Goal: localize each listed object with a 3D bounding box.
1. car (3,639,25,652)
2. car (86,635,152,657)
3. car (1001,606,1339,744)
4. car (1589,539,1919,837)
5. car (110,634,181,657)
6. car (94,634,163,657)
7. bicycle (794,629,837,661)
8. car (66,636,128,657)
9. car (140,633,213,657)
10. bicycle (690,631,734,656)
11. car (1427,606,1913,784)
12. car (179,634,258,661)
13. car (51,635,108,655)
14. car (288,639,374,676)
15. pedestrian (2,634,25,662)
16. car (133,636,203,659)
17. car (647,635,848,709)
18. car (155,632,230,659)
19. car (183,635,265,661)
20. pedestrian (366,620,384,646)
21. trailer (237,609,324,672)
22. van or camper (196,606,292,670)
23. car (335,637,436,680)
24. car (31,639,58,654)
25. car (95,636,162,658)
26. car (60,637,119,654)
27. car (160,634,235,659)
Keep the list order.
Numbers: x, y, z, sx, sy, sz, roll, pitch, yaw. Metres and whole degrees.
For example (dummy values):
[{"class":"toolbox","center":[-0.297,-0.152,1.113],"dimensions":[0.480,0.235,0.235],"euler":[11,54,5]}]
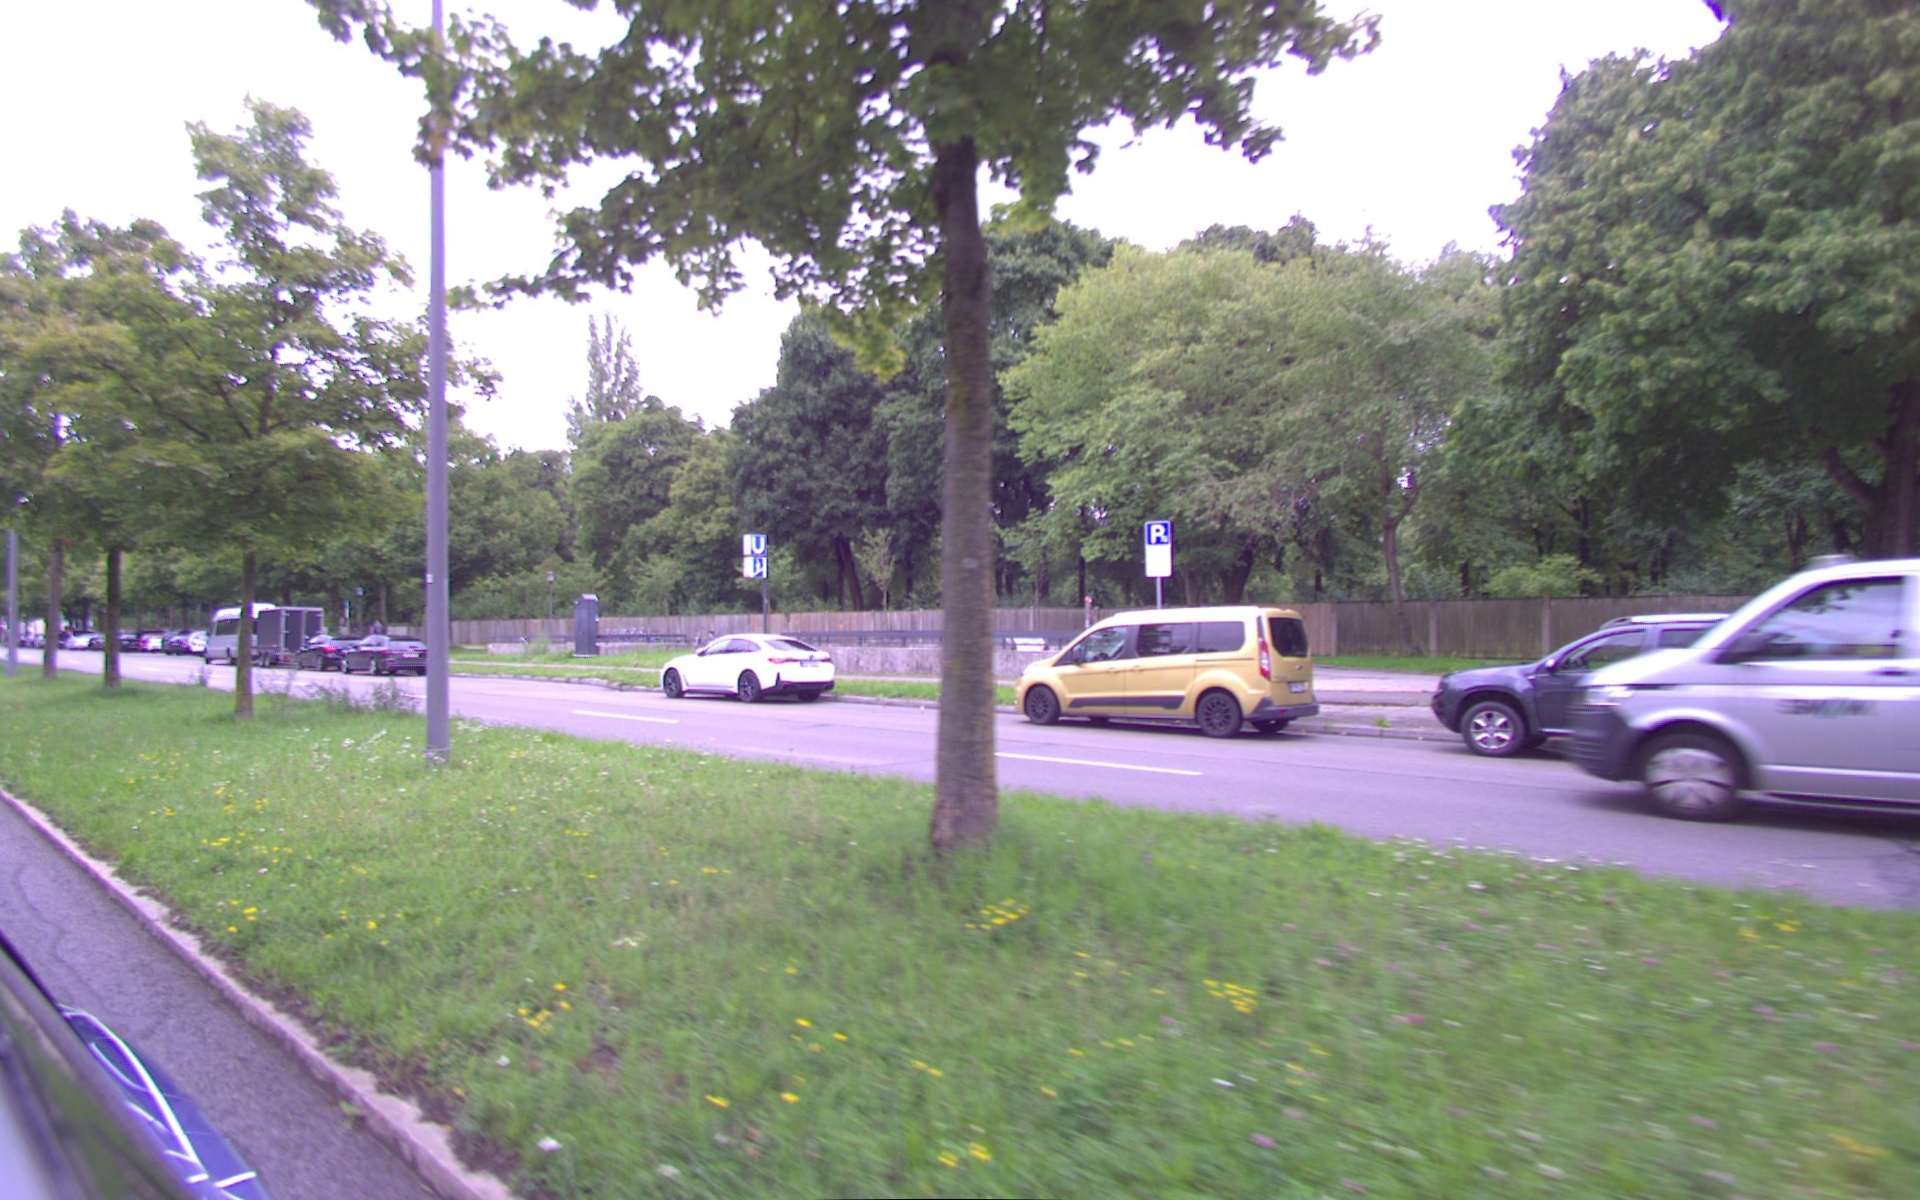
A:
[{"class":"car","center":[-112.840,5.423,120.719],"dimensions":[1.864,1.454,4.171],"euler":[-1,-1,-45]},{"class":"car","center":[-70.219,3.845,84.528],"dimensions":[1.870,1.569,3.989],"euler":[-3,0,9]},{"class":"car","center":[3.035,1.071,15.432],"dimensions":[4.816,1.796,1.795],"euler":[-2,-4,42]},{"class":"car","center":[7.347,0.592,6.893],"dimensions":[4.991,1.948,1.781],"euler":[-2,-3,41]},{"class":"car","center":[-63.214,3.528,78.656],"dimensions":[1.873,1.569,3.983],"euler":[-3,0,13]},{"class":"car","center":[-65.552,3.584,79.870],"dimensions":[1.870,1.569,3.989],"euler":[-3,0,9]},{"class":"bicycle","center":[-5.119,1.575,35.726],"dimensions":[1.825,1.108,0.427],"euler":[-2,-1,42]},{"class":"car","center":[-77.047,4.144,90.397],"dimensions":[1.870,1.569,3.989],"euler":[-3,0,9]},{"class":"car","center":[-58.201,3.324,75.236],"dimensions":[1.873,1.474,3.983],"euler":[-3,0,13]},{"class":"bicycle","center":[-10.066,1.751,41.076],"dimensions":[0.432,0.937,1.801],"euler":[-2,-1,40]},{"class":"car","center":[7.833,0.976,11.521],"dimensions":[4.253,1.658,1.719],"euler":[-2,-4,41]},{"class":"car","center":[-49.065,3.111,67.046],"dimensions":[1.780,1.585,4.315],"euler":[-1,0,7]},{"class":"car","center":[-84.385,4.288,97.007],"dimensions":[1.760,1.741,3.992],"euler":[-1,0,7]},{"class":"car","center":[-25.353,2.282,40.741],"dimensions":[4.236,1.394,1.781],"euler":[-2,-4,41]},{"class":"pedestrian","center":[-59.165,2.996,63.280],"dimensions":[0.859,1.711,0.773],"euler":[1,-2,-29]},{"class":"car","center":[-60.446,3.588,77.287],"dimensions":[1.723,1.466,3.983],"euler":[-3,0,13]},{"class":"car","center":[-4.856,1.552,22.724],"dimensions":[4.872,1.484,1.837],"euler":[-2,-4,41]},{"class":"car","center":[-53.680,3.160,70.840],"dimensions":[1.783,1.599,3.985],"euler":[-3,0,12]},{"class":"car","center":[-46.634,3.007,64.263],"dimensions":[1.780,1.449,4.315],"euler":[-1,0,7]},{"class":"pedestrian","center":[-40.678,2.320,70.353],"dimensions":[0.873,1.781,0.761],"euler":[-2,-3,37]},{"class":"trailer","center":[-29.921,1.785,44.528],"dimensions":[4.656,2.610,1.995],"euler":[-2,-4,41]},{"class":"van or camper","center":[-34.441,1.825,48.556],"dimensions":[7.543,2.859,2.013],"euler":[-2,-4,42]},{"class":"car","center":[-20.698,2.077,36.394],"dimensions":[4.429,1.436,1.781],"euler":[-2,-4,41]},{"class":"car","center":[-93.563,4.734,103.443],"dimensions":[1.864,1.454,4.171],"euler":[-1,-1,-45]},{"class":"car","center":[-67.910,3.812,82.723],"dimensions":[1.870,1.569,3.989],"euler":[-3,0,9]},{"class":"car","center":[-79.510,4.174,92.528],"dimensions":[1.574,1.376,3.987],"euler":[-1,0,10]},{"class":"car","center":[-51.639,3.129,68.625],"dimensions":[1.780,1.497,3.992],"euler":[-3,0,6]}]
